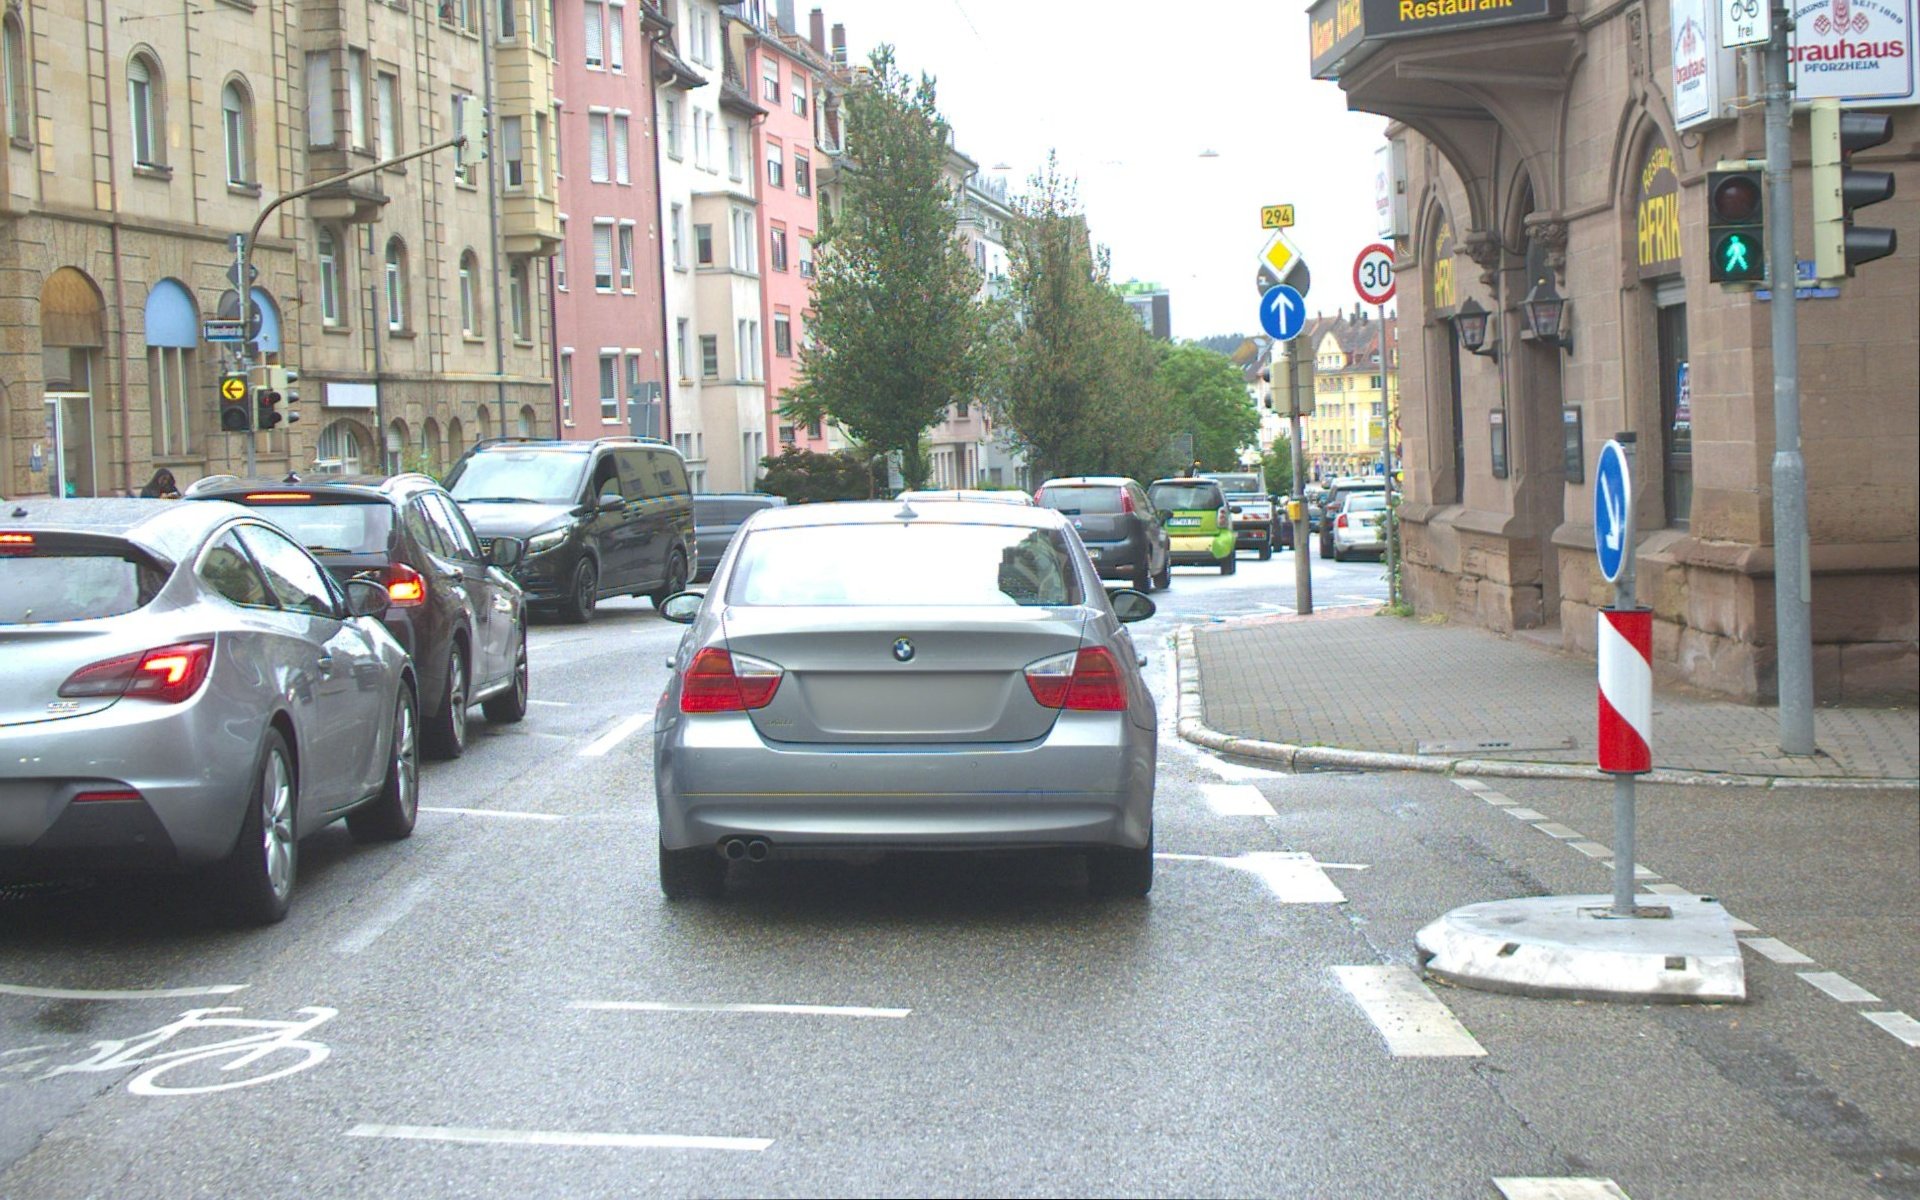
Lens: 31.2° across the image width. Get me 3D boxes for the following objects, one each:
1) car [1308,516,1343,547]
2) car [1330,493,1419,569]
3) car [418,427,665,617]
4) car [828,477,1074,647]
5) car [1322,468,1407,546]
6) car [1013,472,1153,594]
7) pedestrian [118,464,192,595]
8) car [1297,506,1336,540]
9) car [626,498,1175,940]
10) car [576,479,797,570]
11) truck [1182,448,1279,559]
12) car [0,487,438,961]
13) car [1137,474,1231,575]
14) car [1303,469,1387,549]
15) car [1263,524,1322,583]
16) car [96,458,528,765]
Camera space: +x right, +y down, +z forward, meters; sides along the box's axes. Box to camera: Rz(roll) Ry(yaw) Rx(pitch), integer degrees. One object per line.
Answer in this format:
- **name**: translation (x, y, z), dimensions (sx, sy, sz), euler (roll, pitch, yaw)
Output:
- **car**: translation (20.542, -3.851, 193.212), dimensions (1.879, 1.725, 4.439), euler (0, 2, 7)
- **car**: translation (8.844, -1.479, 73.567), dimensions (1.799, 1.559, 4.492), euler (0, 1, 6)
- **car**: translation (-4.363, -0.824, 36.432), dimensions (1.742, 1.840, 4.146), euler (-2, 1, 5)
- **car**: translation (-0.019, -0.348, 30.864), dimensions (1.682, 1.423, 3.740), euler (0, 1, 8)
- **car**: translation (9.290, -2.131, 78.909), dimensions (1.879, 1.725, 4.676), euler (0, 1, 7)
- **car**: translation (1.612, -0.850, 43.924), dimensions (1.697, 1.478, 3.793), euler (0, 1, 3)
- **pedestrian**: translation (-10.464, -0.920, 44.673), dimensions (0.826, 1.696, 0.639), euler (-1, 2, -23)
- **car**: translation (17.991, -3.895, 173.235), dimensions (1.879, 1.725, 4.676), euler (0, 2, 7)
- **car**: translation (-0.249, 0.333, 12.944), dimensions (1.769, 1.423, 3.741), euler (0, 2, -2)
- **car**: translation (-5.836, -1.621, 73.770), dimensions (4.674, 1.932, 1.863), euler (0, 2, -2)
- **truck**: translation (6.133, -2.150, 77.538), dimensions (2.032, 2.404, 4.826), euler (0, 1, 6)
- **car**: translation (-3.178, 0.334, 12.906), dimensions (1.752, 1.478, 4.181), euler (-1, 2, 0)
- **car**: translation (3.578, -1.202, 55.121), dimensions (1.449, 1.560, 3.332), euler (0, 1, 3)
- **car**: translation (9.542, -2.230, 85.079), dimensions (1.920, 1.821, 5.008), euler (-3, 1, 7)
- **car**: translation (10.637, -1.470, 109.734), dimensions (1.778, 1.792, 3.999), euler (1, 0, 7)
- **car**: translation (-3.521, 0.030, 19.393), dimensions (1.752, 1.530, 4.215), euler (0, 1, -2)
